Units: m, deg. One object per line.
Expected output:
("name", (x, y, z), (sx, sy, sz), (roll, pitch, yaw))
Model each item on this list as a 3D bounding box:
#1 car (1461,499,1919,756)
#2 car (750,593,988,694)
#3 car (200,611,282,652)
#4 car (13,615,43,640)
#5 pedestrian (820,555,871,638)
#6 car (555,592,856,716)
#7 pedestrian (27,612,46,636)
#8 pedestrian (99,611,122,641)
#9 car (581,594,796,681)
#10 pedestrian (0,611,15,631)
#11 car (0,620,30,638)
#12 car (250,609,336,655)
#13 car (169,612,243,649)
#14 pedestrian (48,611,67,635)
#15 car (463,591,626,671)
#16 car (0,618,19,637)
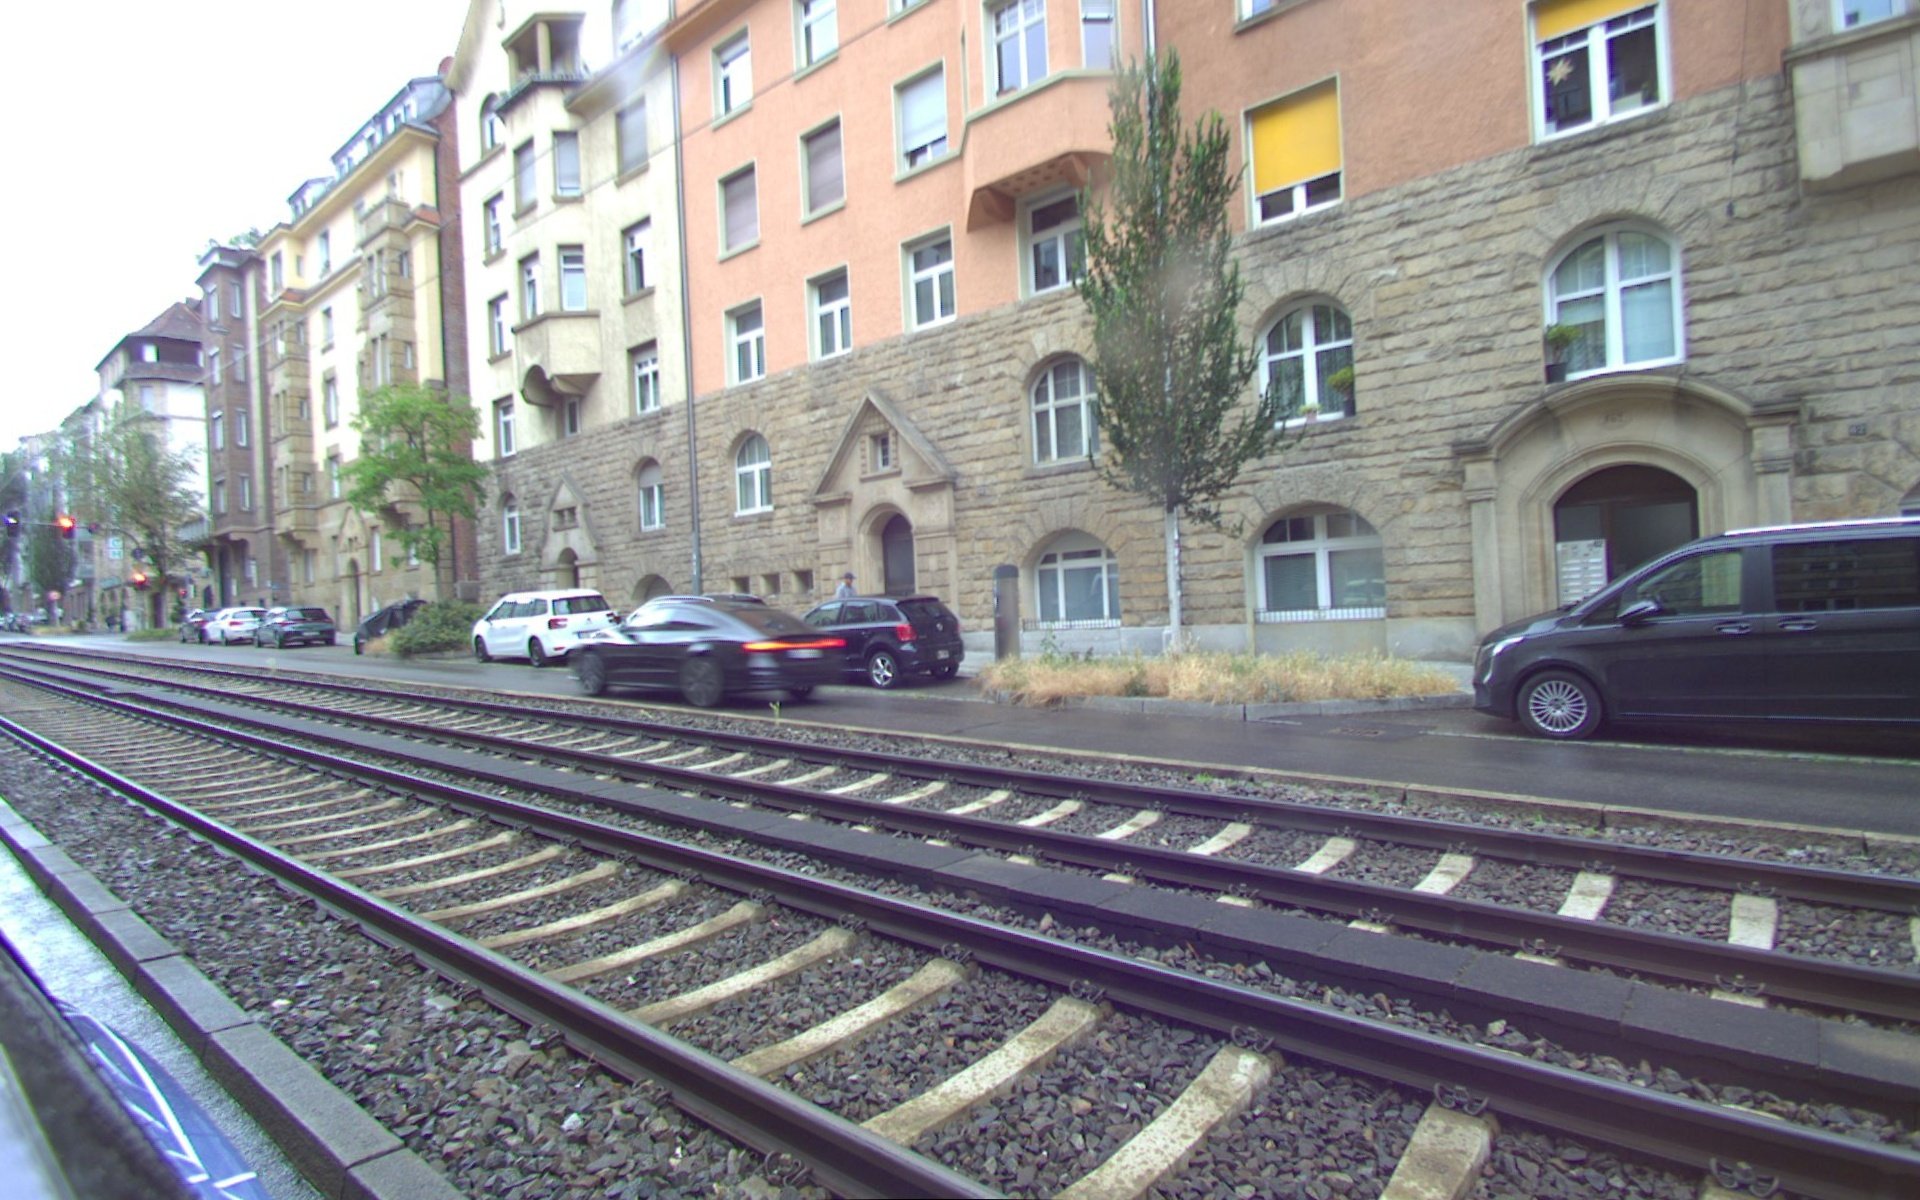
("car", (7.336, 0.210, 9.009), (4.823, 1.956, 1.973), (-1, 0, 41))
("car", (-1.566, 0.665, 16.944), (3.638, 1.508, 1.912), (-1, 0, 38))
("car", (-28.294, 1.215, 39.791), (4.030, 1.452, 1.748), (-1, 1, 42))
("car", (-69.050, 2.006, 75.003), (1.561, 1.691, 3.794), (-2, 2, -43))
("pedestrian", (-2.348, -0.063, 20.716), (0.765, 1.654, 0.692), (-1, 0, 41))
("car", (-3.895, 0.715, 14.913), (4.962, 1.535, 1.784), (-1, 0, 41))
("pedestrian", (-76.931, 1.974, 84.281), (1.163, 1.972, 1.042), (-1, 0, 43))
("pedestrian", (-57.011, 1.735, 67.913), (1.163, 1.972, 1.042), (-1, 0, 43))
("car", (-5.447, 0.695, 19.965), (4.599, 1.506, 1.824), (-1, 0, 41))
("pedestrian", (-97.086, 2.137, 102.886), (1.379, 1.972, 1.362), (-1, 0, 43))
("car", (-74.298, 2.297, 79.368), (3.843, 1.321, 1.563), (-1, 0, 41))
("car", (-23.693, 1.098, 35.888), (3.845, 1.452, 1.656), (-1, 1, 43))
("car", (-32.153, 1.270, 43.113), (3.843, 1.452, 1.748), (-1, 0, 41))
("pedestrian", (-76.067, 1.962, 85.271), (1.163, 1.972, 1.042), (-1, 0, 43))
("car", (-9.755, 0.701, 23.638), (4.144, 1.668, 1.843), (-1, 0, 41))
("car", (-80.925, 2.306, 85.441), (3.843, 1.527, 1.748), (-1, 0, 41))
